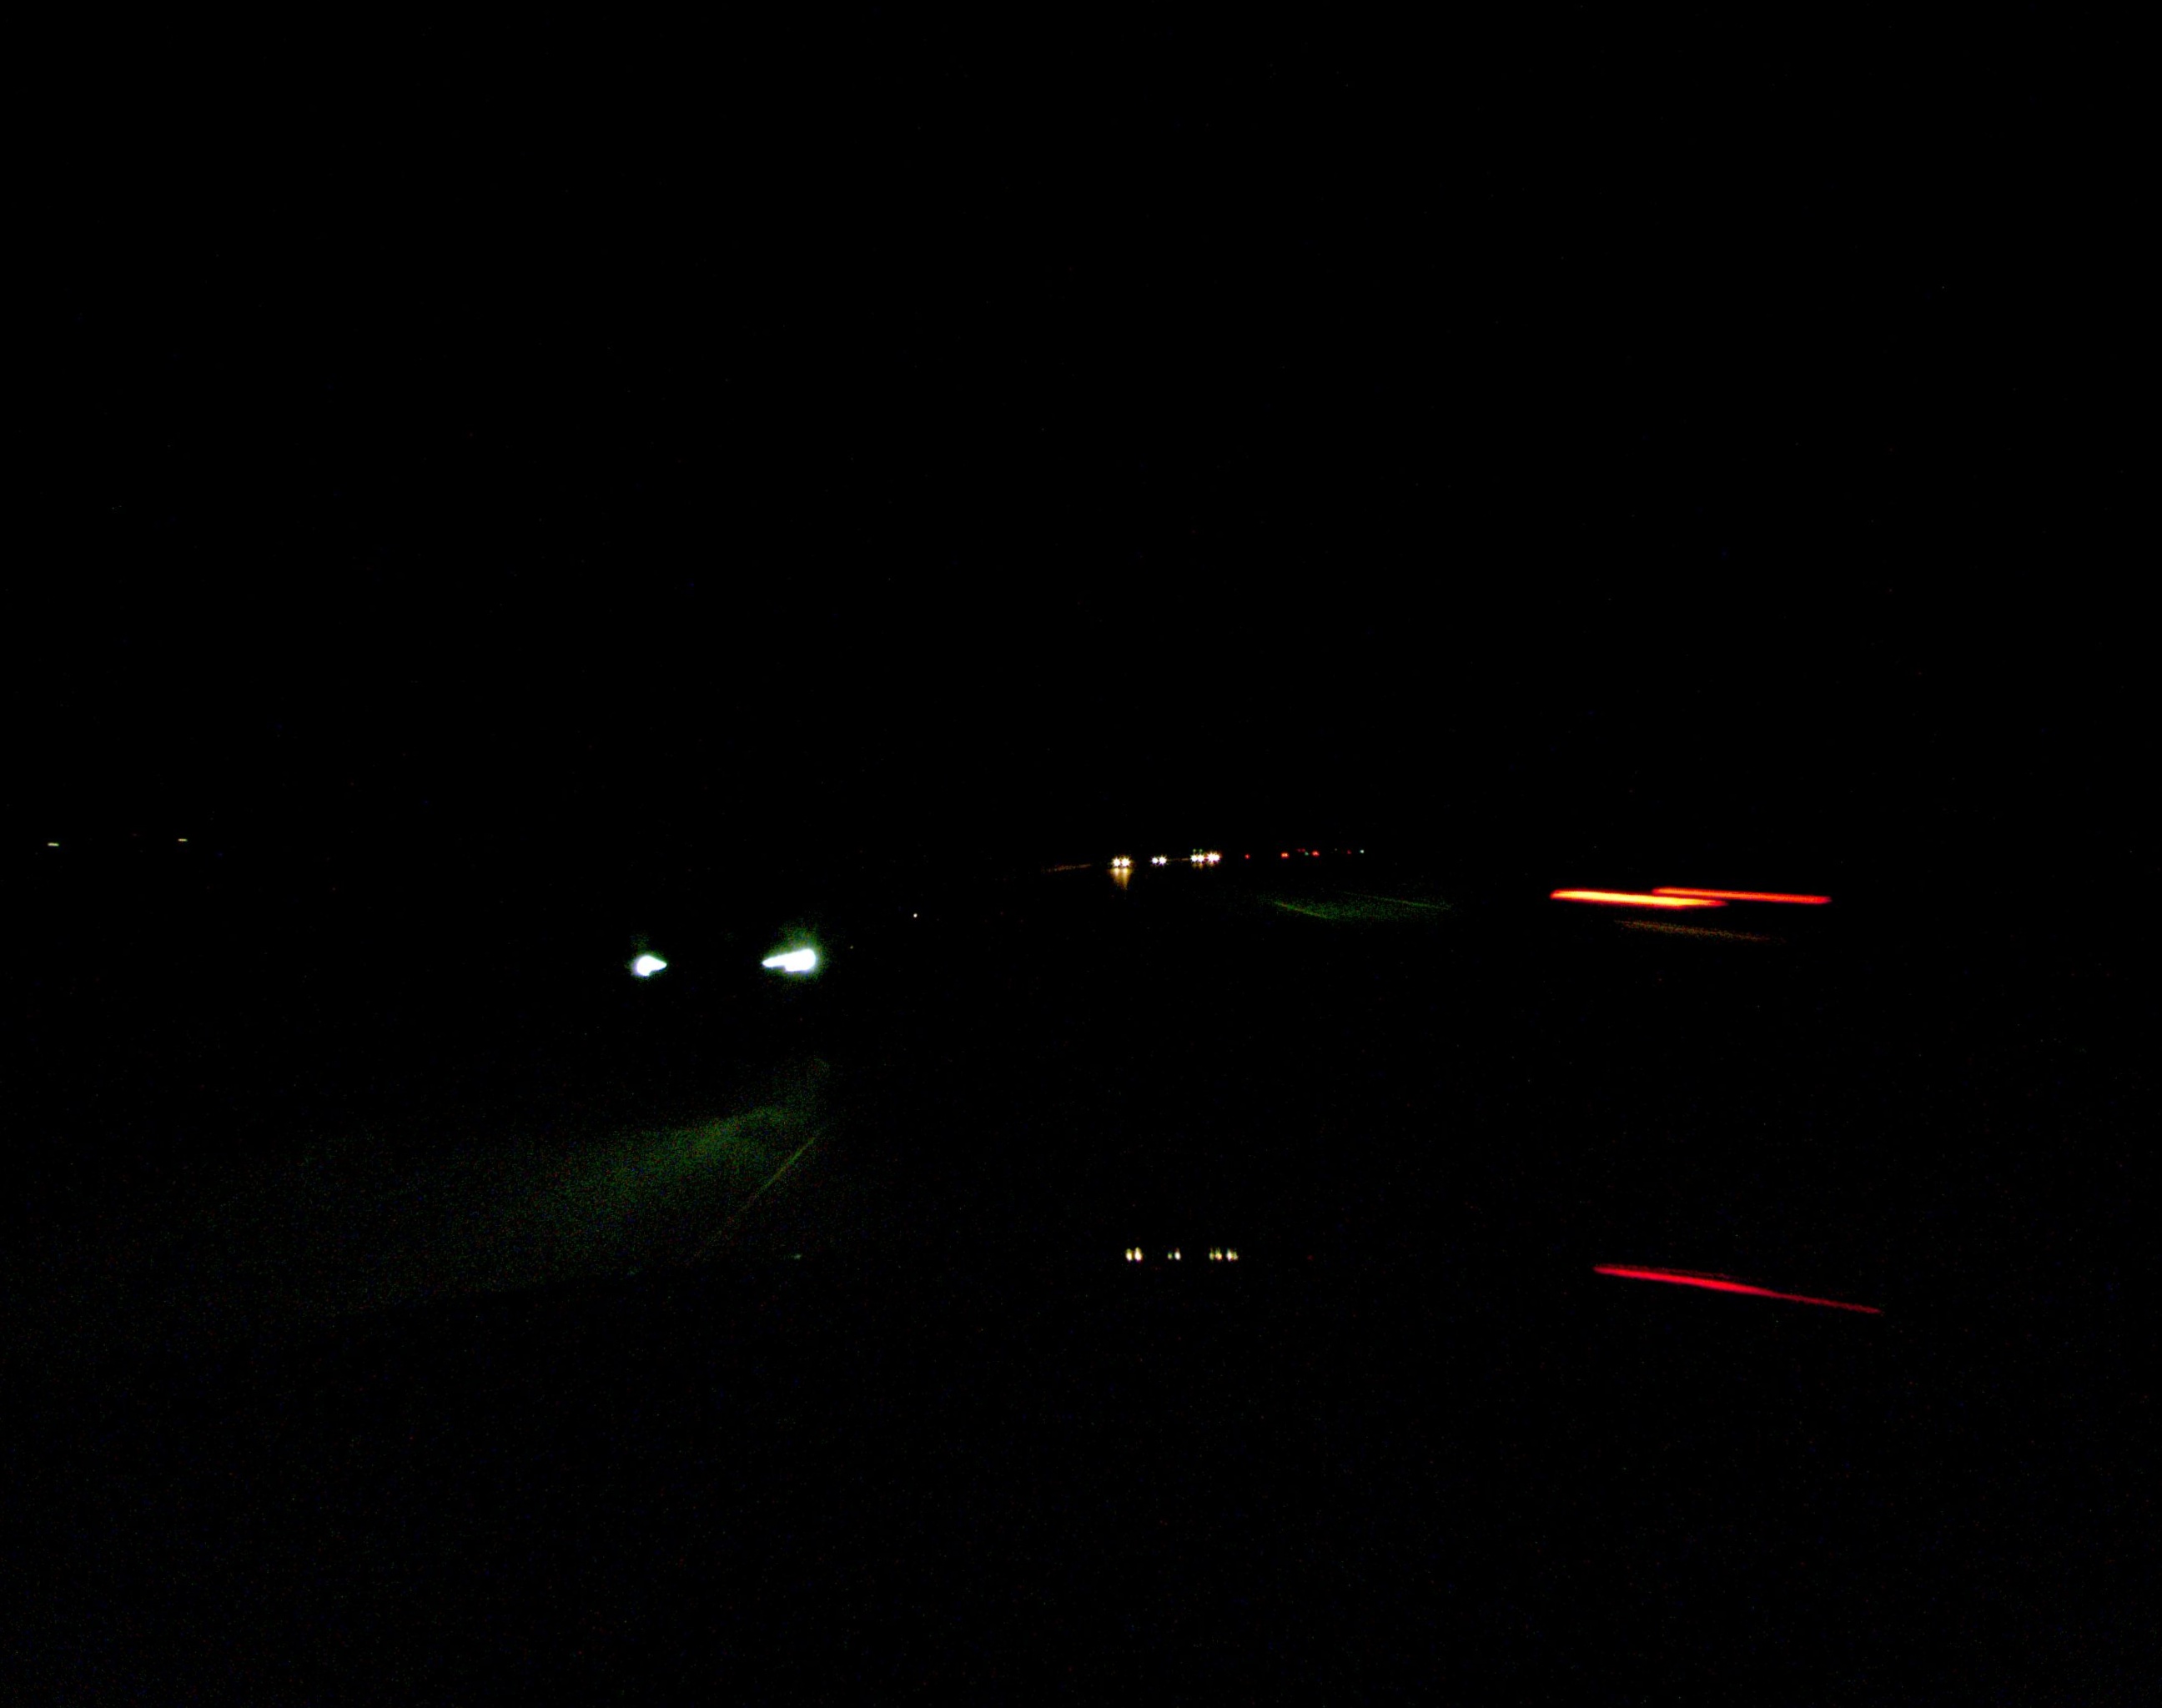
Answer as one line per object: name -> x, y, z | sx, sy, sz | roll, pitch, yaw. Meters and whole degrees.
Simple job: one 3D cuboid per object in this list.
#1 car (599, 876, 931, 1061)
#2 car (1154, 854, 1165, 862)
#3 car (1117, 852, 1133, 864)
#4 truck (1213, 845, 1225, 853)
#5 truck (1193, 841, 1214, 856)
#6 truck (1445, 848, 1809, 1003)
car -> -3.137, 1.036, 8.823 | 1.812, 1.418, 4.874 | 0, 0, 0
car -> 15.787, 0.785, 152.592 | 1.810, 1.508, 3.940 | 0, 0, 13
car -> 5.787, 0.513, 99.576 | 1.811, 1.508, 3.938 | 1, 0, 9
truck -> 42.831, -1.476, 235.824 | 2.423, 2.410, 7.101 | 0, 1, 20
truck -> 37.741, -1.846, 233.102 | 2.967, 4.250, 17.168 | 0, 1, 21
truck -> 6.526, 0.715, 9.771 | 1.687, 1.461, 4.152 | -2, 1, 0
